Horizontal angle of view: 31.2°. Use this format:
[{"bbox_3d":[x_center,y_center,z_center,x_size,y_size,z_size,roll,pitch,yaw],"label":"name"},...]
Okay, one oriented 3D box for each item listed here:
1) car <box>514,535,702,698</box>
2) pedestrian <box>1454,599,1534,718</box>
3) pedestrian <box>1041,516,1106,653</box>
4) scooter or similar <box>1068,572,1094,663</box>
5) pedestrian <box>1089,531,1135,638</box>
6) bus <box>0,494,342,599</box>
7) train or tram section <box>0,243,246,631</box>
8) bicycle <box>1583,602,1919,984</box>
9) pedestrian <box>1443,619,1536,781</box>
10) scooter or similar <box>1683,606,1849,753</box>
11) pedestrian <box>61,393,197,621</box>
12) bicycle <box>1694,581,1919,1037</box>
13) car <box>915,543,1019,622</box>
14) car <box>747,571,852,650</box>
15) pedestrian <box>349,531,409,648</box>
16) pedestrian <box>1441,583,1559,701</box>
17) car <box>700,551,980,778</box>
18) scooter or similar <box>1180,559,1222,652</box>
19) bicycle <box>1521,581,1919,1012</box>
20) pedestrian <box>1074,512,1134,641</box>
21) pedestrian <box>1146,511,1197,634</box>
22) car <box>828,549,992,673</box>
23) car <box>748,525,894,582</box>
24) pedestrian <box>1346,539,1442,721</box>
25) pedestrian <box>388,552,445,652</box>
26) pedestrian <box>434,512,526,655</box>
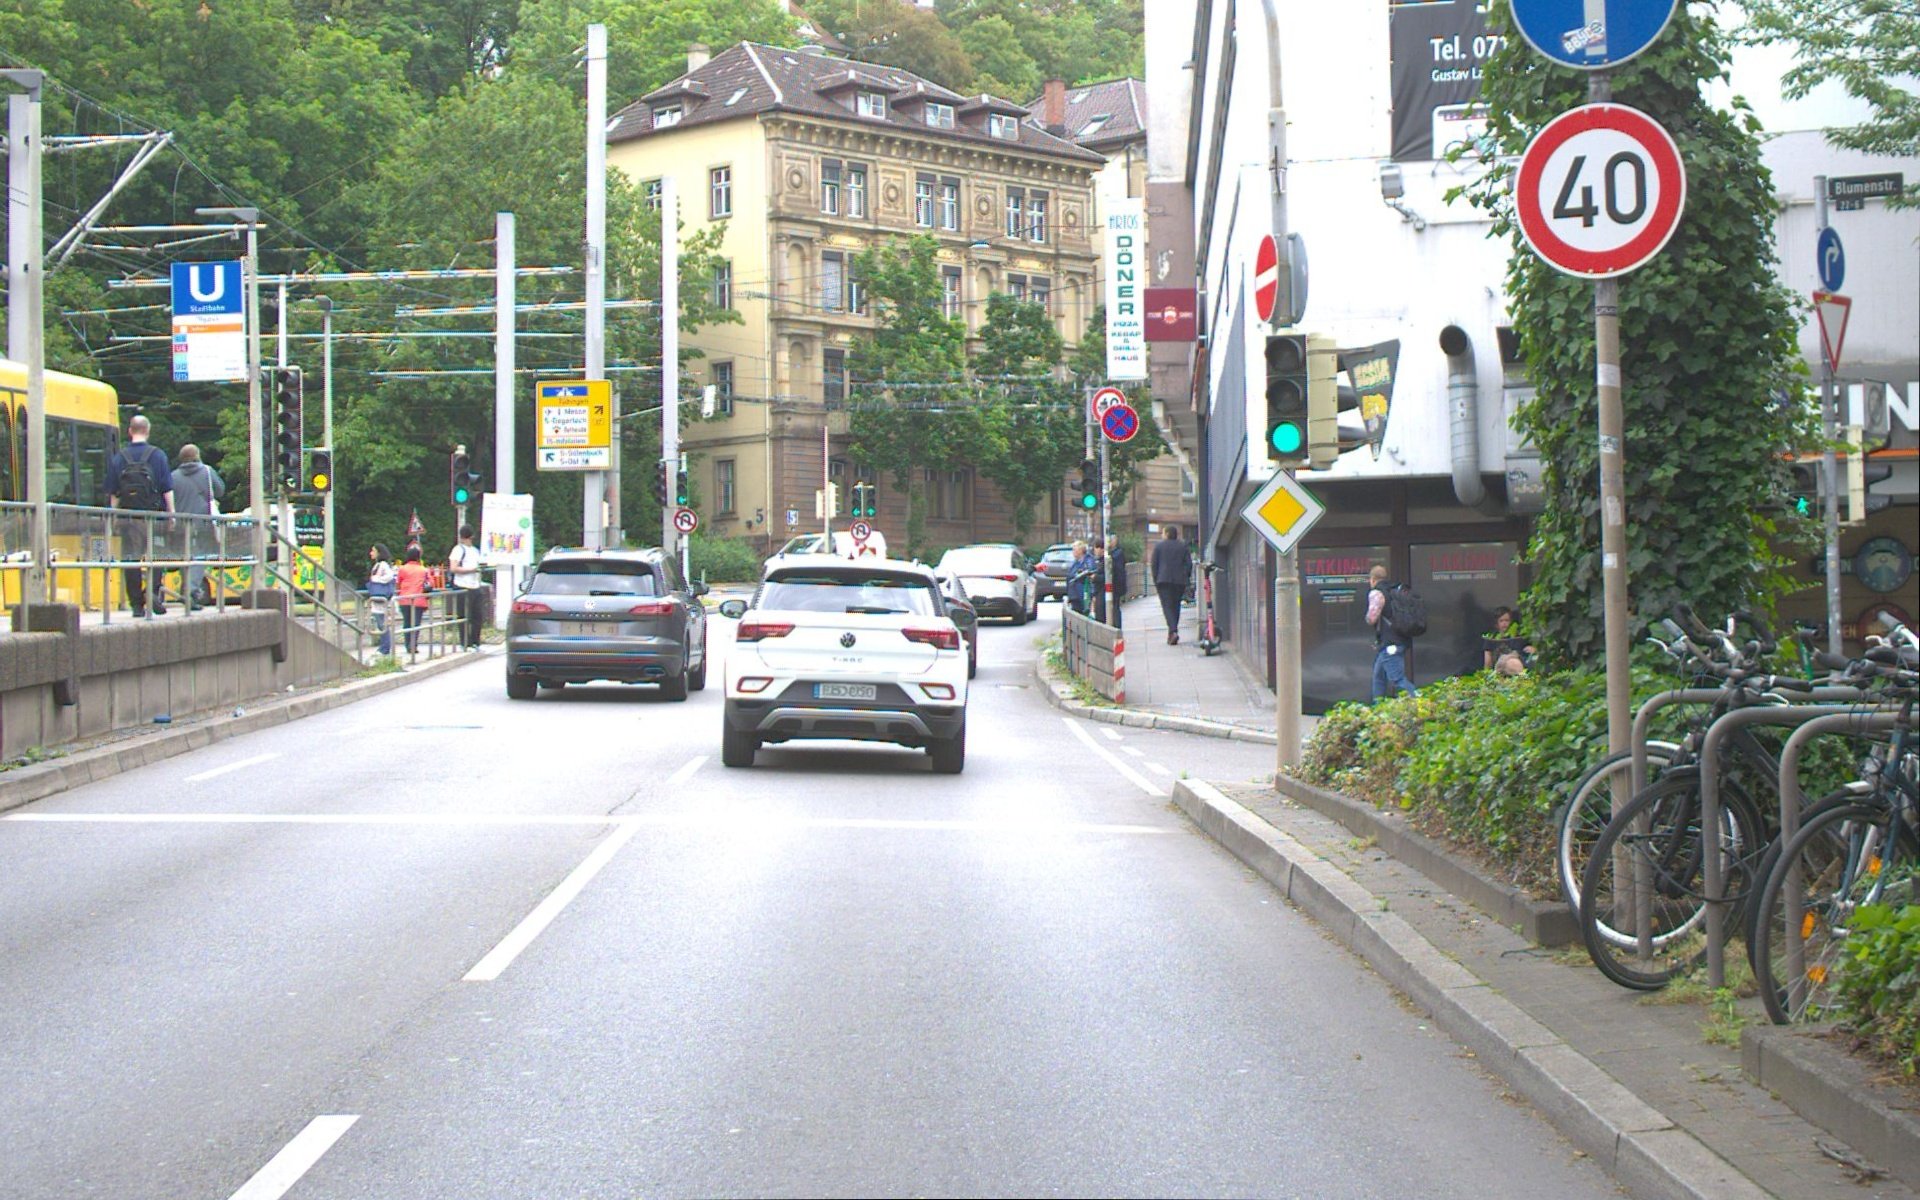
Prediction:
[{"bbox_3d":[-3.910,0.148,38.686,1.839,1.734,4.000,0,1,-2],"label":"car"},{"bbox_3d":[5.692,0.616,36.640,0.735,1.231,0.717,1,1,16],"label":"pedestrian"},{"bbox_3d":[1.737,-0.244,52.314,0.946,2.055,0.778,-1,1,3],"label":"pedestrian"},{"bbox_3d":[1.699,0.237,48.395,0.354,1.272,0.813,0,0,2],"label":"scooter or similar"},{"bbox_3d":[2.422,-0.248,54.753,0.562,1.646,0.591,-6,1,3],"label":"pedestrian"},{"bbox_3d":[-25.468,-1.664,107.817,11.517,3.019,3.388,-1,1,13],"label":"bus"},{"bbox_3d":[-10.632,-1.665,37.771,2.881,3.651,14.479,-3,2,-2],"label":"train or tram section"},{"bbox_3d":[2.857,0.633,11.448,1.420,1.217,0.542,1,0,-5],"label":"bicycle"},{"bbox_3d":[3.180,0.606,20.684,0.484,0.907,0.583,1,-8,2],"label":"pedestrian"},{"bbox_3d":[7.884,0.774,33.627,1.386,1.345,0.597,3,0,-13],"label":"scooter or similar"},{"bbox_3d":[-7.498,-0.820,31.055,0.929,1.963,1.233,-1,-2,-1],"label":"pedestrian"},{"bbox_3d":[2.956,0.556,9.588,1.687,1.217,0.542,0,1,-5],"label":"bicycle"},{"bbox_3d":[0.167,-0.359,67.399,1.938,1.501,3.806,0,1,1],"label":"car"},{"bbox_3d":[-3.154,0.183,68.043,1.938,1.501,3.806,0,1,-1],"label":"car"},{"bbox_3d":[-8.231,-0.154,48.727,0.675,1.619,1.001,-1,1,-2],"label":"pedestrian"},{"bbox_3d":[5.634,0.430,35.844,1.107,1.184,0.742,1,1,17],"label":"pedestrian"},{"bbox_3d":[-0.864,0.426,26.146,1.938,1.561,4.046,1,1,-1],"label":"car"},{"bbox_3d":[3.354,0.070,47.832,0.428,1.271,0.980,0,1,13],"label":"scooter or similar"},{"bbox_3d":[2.615,0.563,10.313,1.740,1.217,0.542,-1,1,-5],"label":"bicycle"},{"bbox_3d":[2.135,-0.342,51.018,0.738,1.788,0.654,-5,-9,3],"label":"pedestrian"},{"bbox_3d":[3.146,-0.410,51.185,0.727,1.802,0.654,1,1,3],"label":"pedestrian"},{"bbox_3d":[-0.627,0.125,46.389,1.903,1.568,3.834,1,1,4],"label":"car"},{"bbox_3d":[-4.838,-1.597,119.945,4.979,1.843,1.999,1,-1,-43],"label":"car"},{"bbox_3d":[4.309,0.290,34.184,0.720,1.779,0.884,1,0,-7],"label":"pedestrian"},{"bbox_3d":[-8.143,0.033,51.524,0.577,1.459,0.675,-2,-3,19],"label":"pedestrian"},{"bbox_3d":[-7.189,-0.240,51.524,0.966,2.060,1.031,-2,-3,19],"label":"pedestrian"}]
